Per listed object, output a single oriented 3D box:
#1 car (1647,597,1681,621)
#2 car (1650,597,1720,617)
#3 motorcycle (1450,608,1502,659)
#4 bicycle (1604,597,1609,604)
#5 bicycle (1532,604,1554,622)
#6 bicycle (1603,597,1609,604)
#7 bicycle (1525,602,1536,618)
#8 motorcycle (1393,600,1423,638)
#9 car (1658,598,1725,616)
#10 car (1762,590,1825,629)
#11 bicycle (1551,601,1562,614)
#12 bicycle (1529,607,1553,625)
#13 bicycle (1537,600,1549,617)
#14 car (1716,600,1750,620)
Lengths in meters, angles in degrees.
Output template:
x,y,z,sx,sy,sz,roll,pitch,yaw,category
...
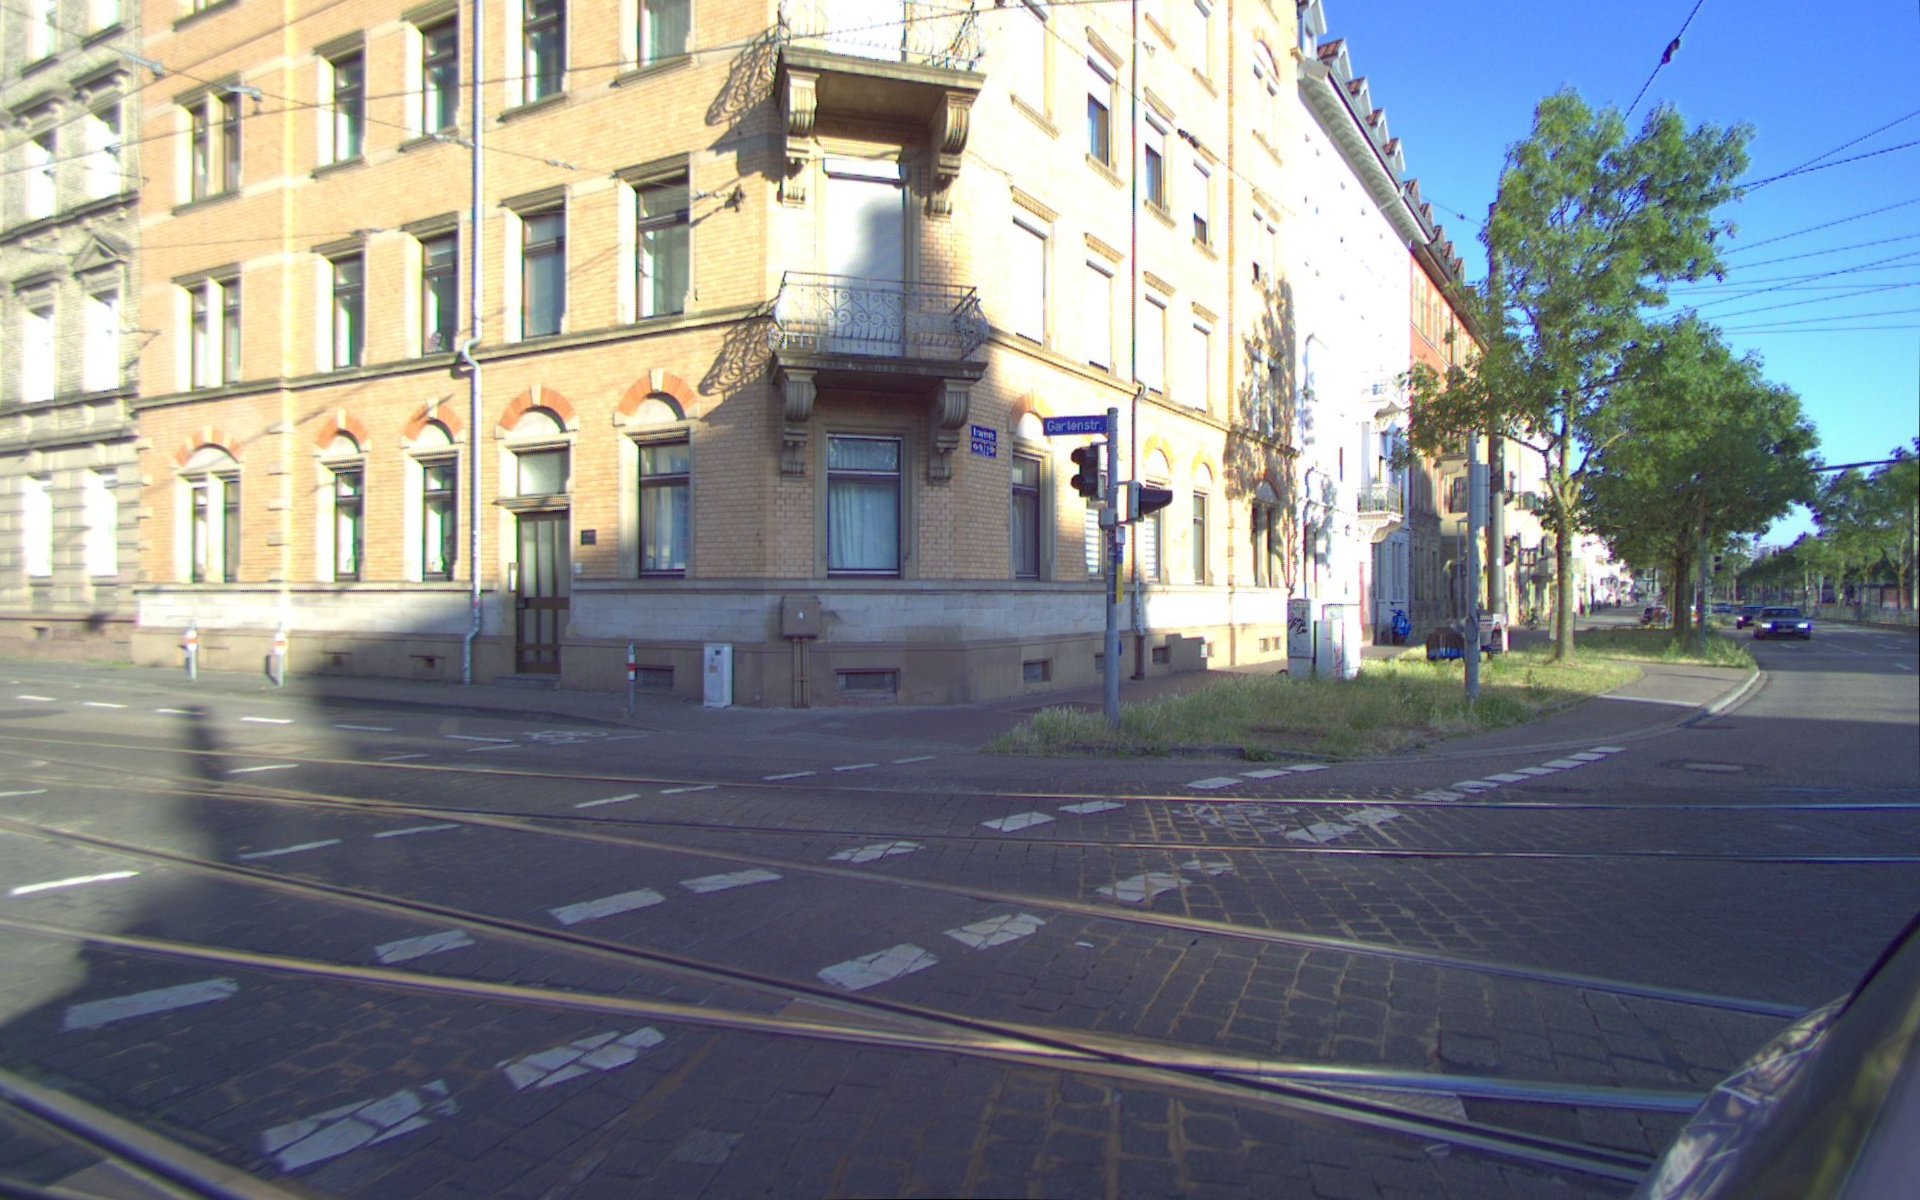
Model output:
x,y,z,sx,sy,sz,roll,pitch,yaw,category
46.713,0.582,67.099,1.698,1.467,4.233,-3,-2,36,car
60.413,0.567,84.379,1.960,1.592,4.349,0,-1,-21,car
11.486,0.724,22.509,0.604,1.057,1.717,0,0,42,motorcycle
94.995,0.116,148.704,0.577,1.003,1.904,0,0,35,bicycle
34.121,0.744,59.214,0.732,0.960,2.306,2,1,39,bicycle
93.798,0.080,146.974,0.586,1.092,2.200,2,1,35,bicycle
37.722,0.679,66.887,0.482,1.018,1.724,0,0,36,bicycle
15.163,0.619,34.245,0.551,1.229,2.047,-2,-1,34,motorcycle
62.269,0.590,86.193,1.808,1.541,4.295,0,0,-21,car
37.464,0.390,45.454,1.993,1.686,3.939,0,1,42,car
49.419,0.626,83.844,0.570,1.087,1.872,1,1,35,bicycle
32.768,0.885,57.074,0.870,0.927,2.056,2,1,37,bicycle
42.537,0.616,73.791,0.482,1.179,1.724,6,4,36,bicycle
67.650,0.839,88.545,1.993,1.686,3.939,0,1,42,car
